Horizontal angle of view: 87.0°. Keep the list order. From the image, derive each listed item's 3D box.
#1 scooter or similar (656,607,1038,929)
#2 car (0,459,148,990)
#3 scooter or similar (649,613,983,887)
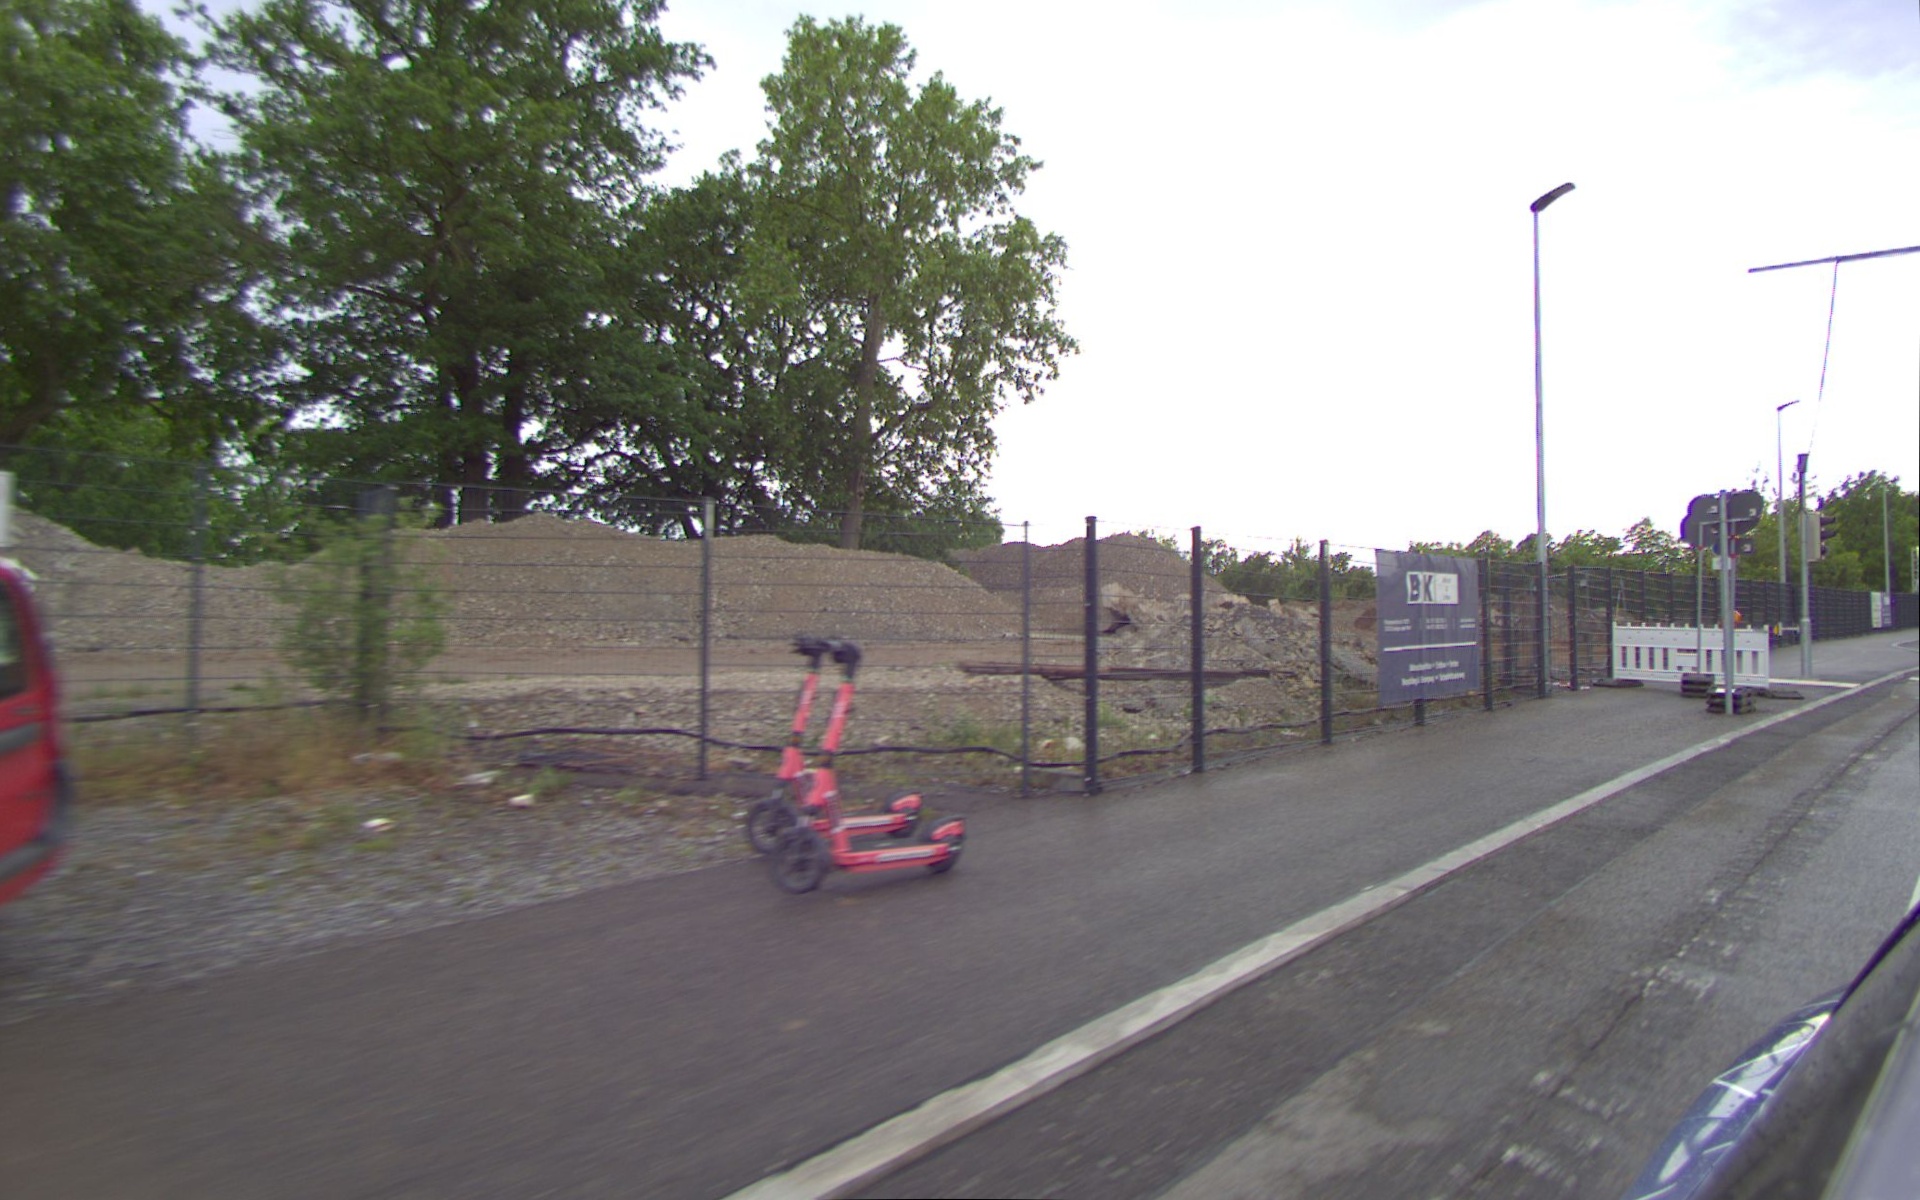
[{"bbox_3d":[-0.520,0.728,5.157,1.876,1.369,0.616,0,-1,-37],"label":"scooter or similar"},{"bbox_3d":[-5.387,0.436,2.977,4.317,1.817,1.828,0,-1,-11],"label":"car"},{"bbox_3d":[-0.796,0.770,5.935,1.876,1.369,0.616,0,-1,-37],"label":"scooter or similar"}]
